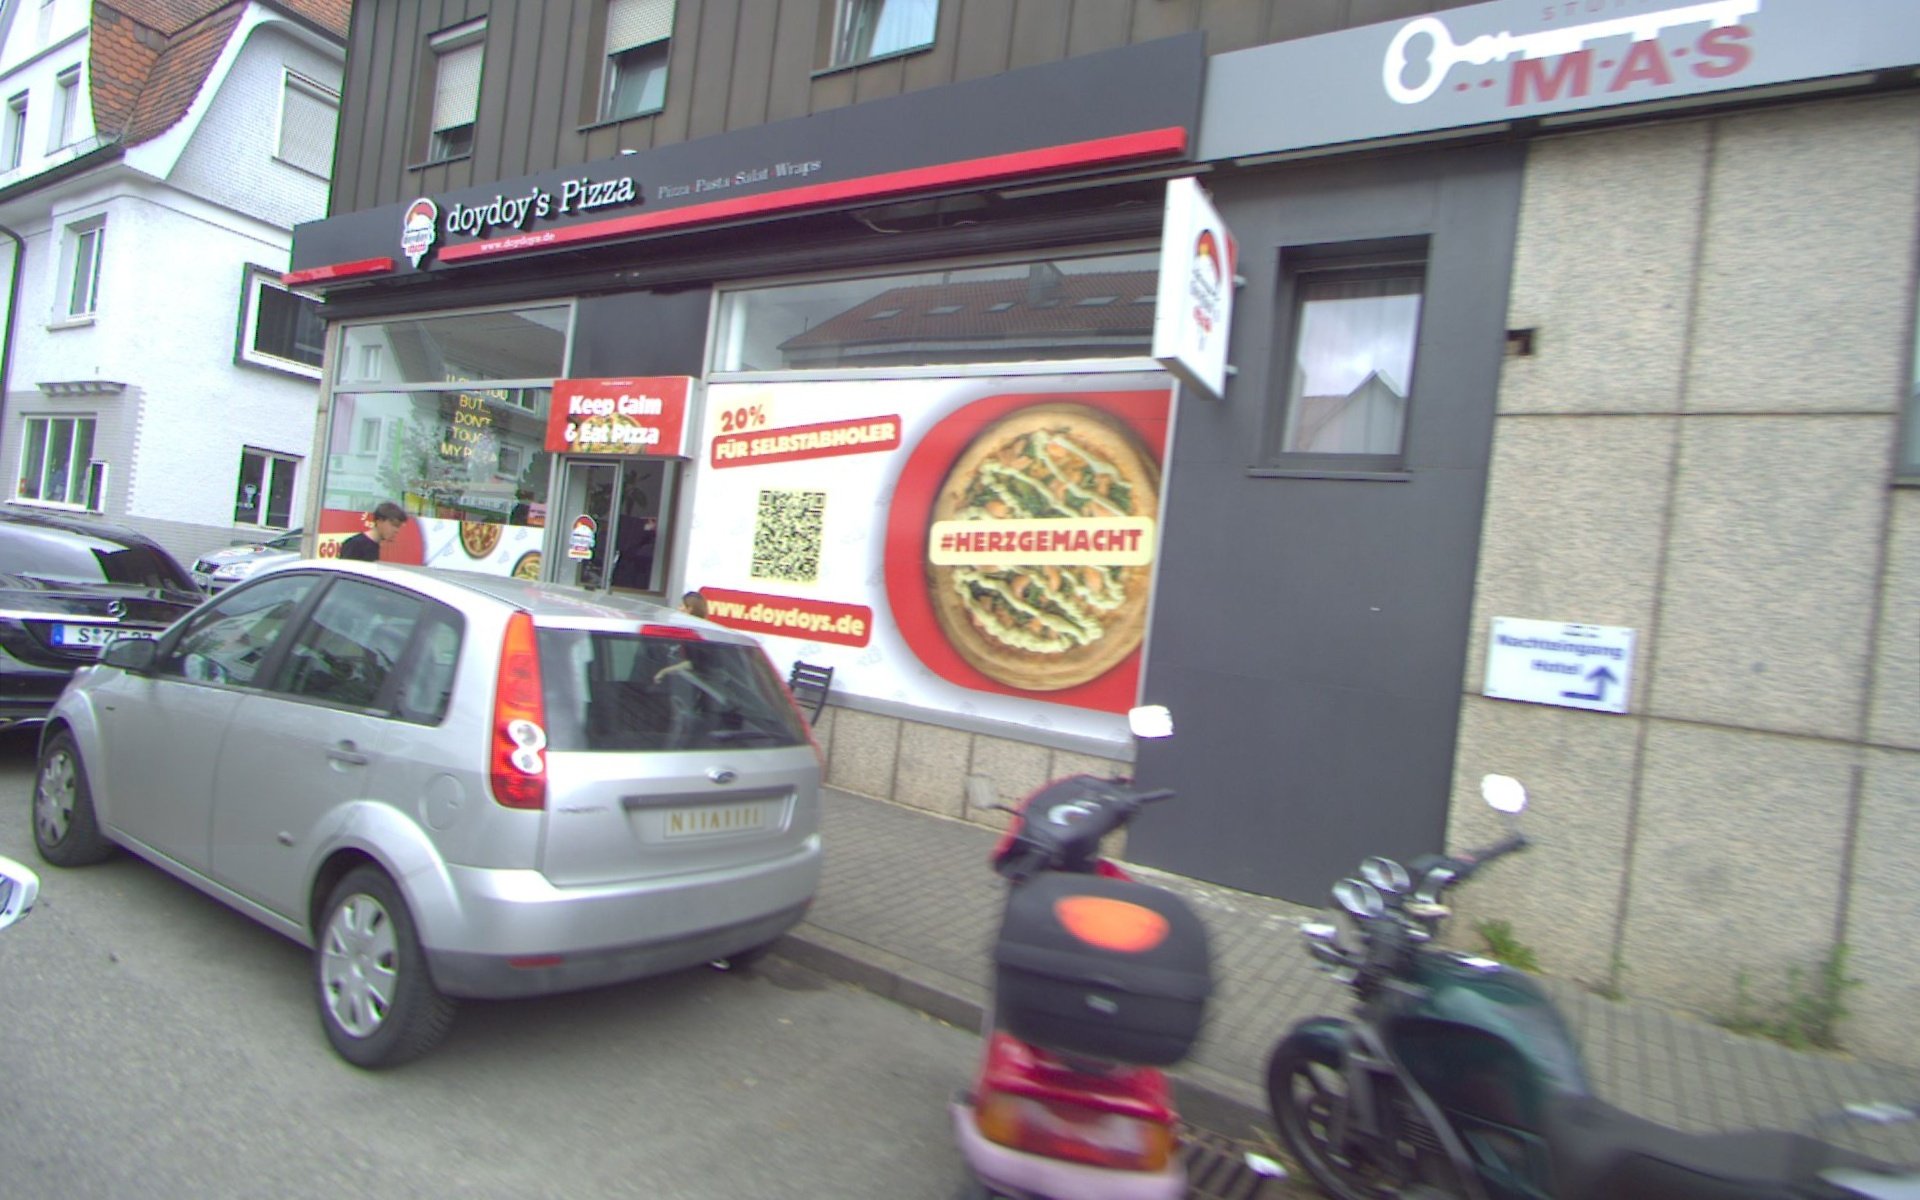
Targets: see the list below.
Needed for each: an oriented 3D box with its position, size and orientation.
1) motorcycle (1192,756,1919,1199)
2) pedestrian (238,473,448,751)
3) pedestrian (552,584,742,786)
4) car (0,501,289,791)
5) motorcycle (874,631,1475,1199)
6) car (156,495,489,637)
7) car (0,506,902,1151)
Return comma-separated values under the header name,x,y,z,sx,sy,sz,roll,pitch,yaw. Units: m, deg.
name,x,y,z,sx,sy,sz,roll,pitch,yaw
motorcycle,1.209,1.141,2.252,0.687,1.197,2.740,7,-2,2
pedestrian,-4.683,0.097,7.658,0.885,1.950,0.858,7,-1,32
pedestrian,-2.342,0.593,7.551,0.951,1.318,0.887,7,3,32
car,-6.449,0.091,6.595,4.168,1.484,1.704,6,-2,32
motorcycle,0.280,0.818,2.653,0.687,1.351,2.719,7,-2,2
car,-9.867,-0.453,15.886,1.660,1.583,3.989,7,-3,32
car,-2.366,0.560,4.242,3.826,1.446,1.704,6,-2,32
